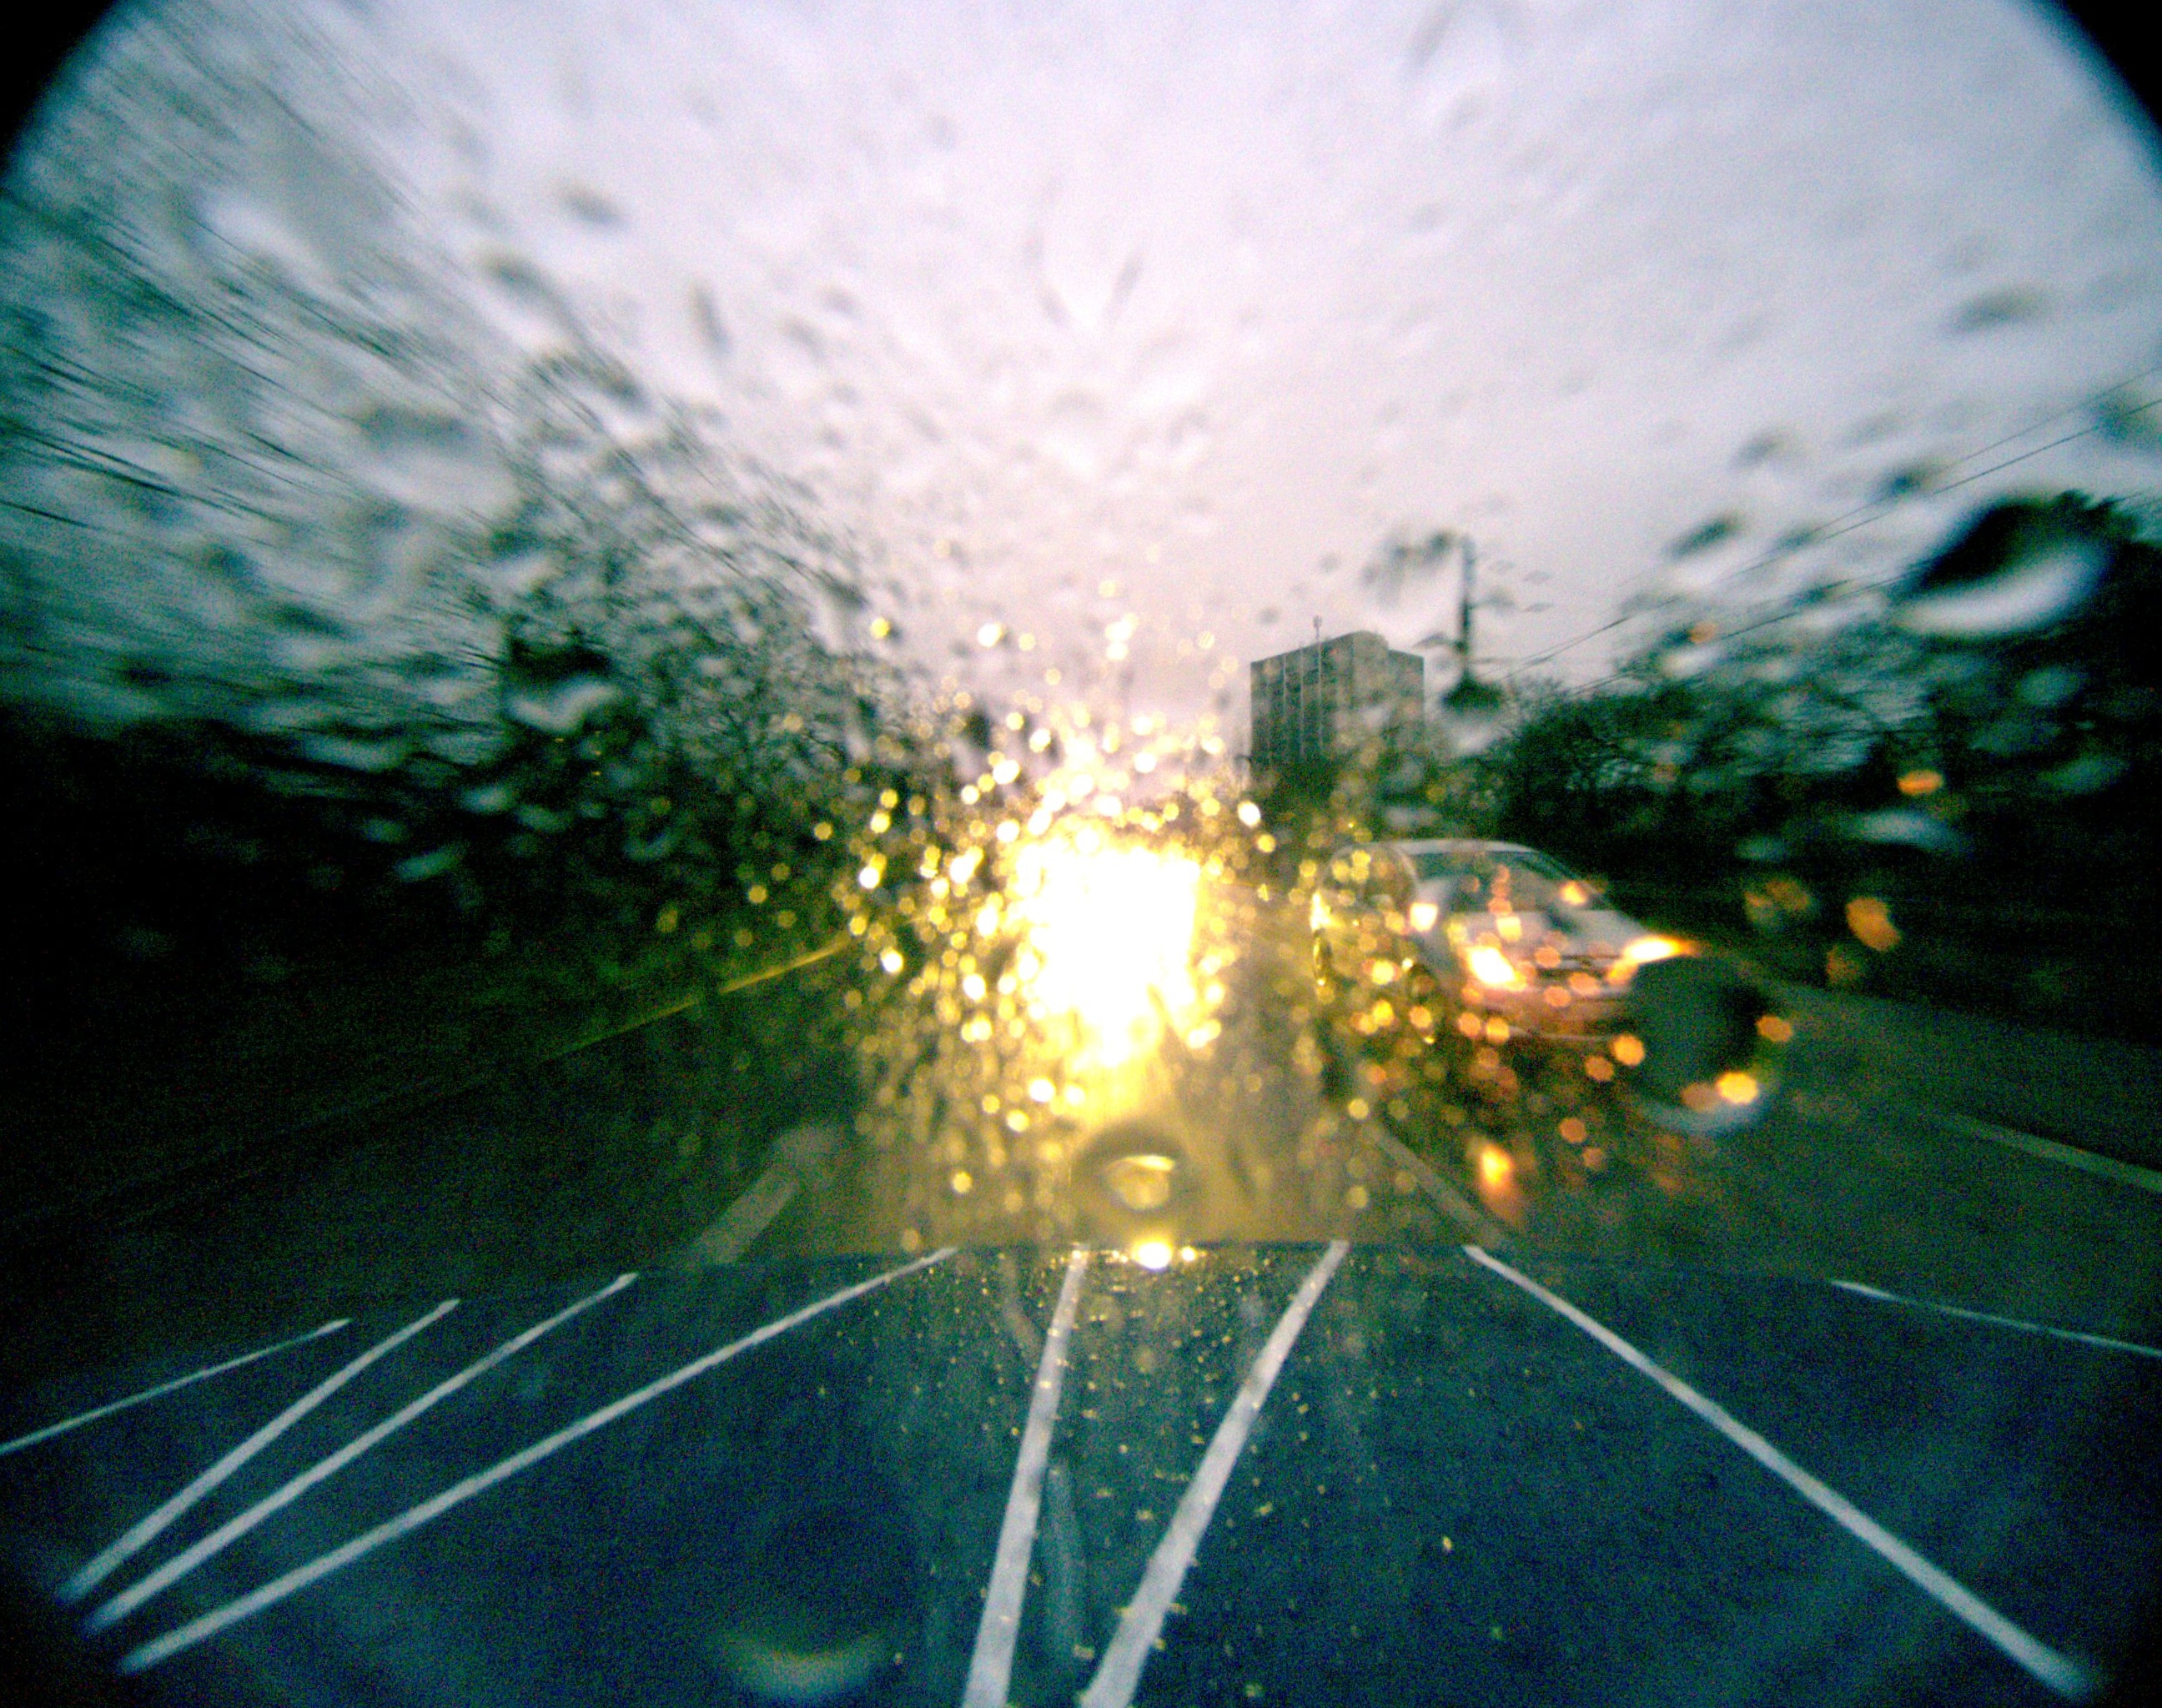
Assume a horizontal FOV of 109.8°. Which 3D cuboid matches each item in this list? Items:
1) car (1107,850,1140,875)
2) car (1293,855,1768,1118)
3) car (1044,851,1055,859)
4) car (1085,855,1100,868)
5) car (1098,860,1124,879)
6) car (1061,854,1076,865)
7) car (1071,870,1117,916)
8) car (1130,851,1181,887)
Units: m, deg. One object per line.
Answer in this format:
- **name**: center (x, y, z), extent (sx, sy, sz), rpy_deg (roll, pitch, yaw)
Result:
- **car**: center (2.867, 0.573, 51.731), extent (1.953, 1.590, 4.124), rpy_deg (-1, 0, -1)
- **car**: center (3.300, 0.803, 6.682), extent (1.694, 1.530, 4.190), rpy_deg (-2, 0, 0)
- **car**: center (-6.555, 0.246, 158.961), extent (1.954, 1.590, 4.122), rpy_deg (-1, 0, -7)
- **car**: center (1.518, 1.018, 101.660), extent (1.998, 1.605, 3.999), rpy_deg (-2, 1, 0)
- **car**: center (2.748, 1.420, 70.807), extent (1.999, 1.652, 3.998), rpy_deg (-2, 1, -3)
- **car**: center (-1.778, 0.750, 107.759), extent (1.953, 1.590, 4.123), rpy_deg (-1, 0, -3)
- **car**: center (0.486, 1.465, 29.649), extent (1.679, 1.590, 4.044), rpy_deg (-1, 0, 0)
- **car**: center (3.491, 0.685, 36.133), extent (1.953, 1.590, 4.124), rpy_deg (-1, 0, -1)
